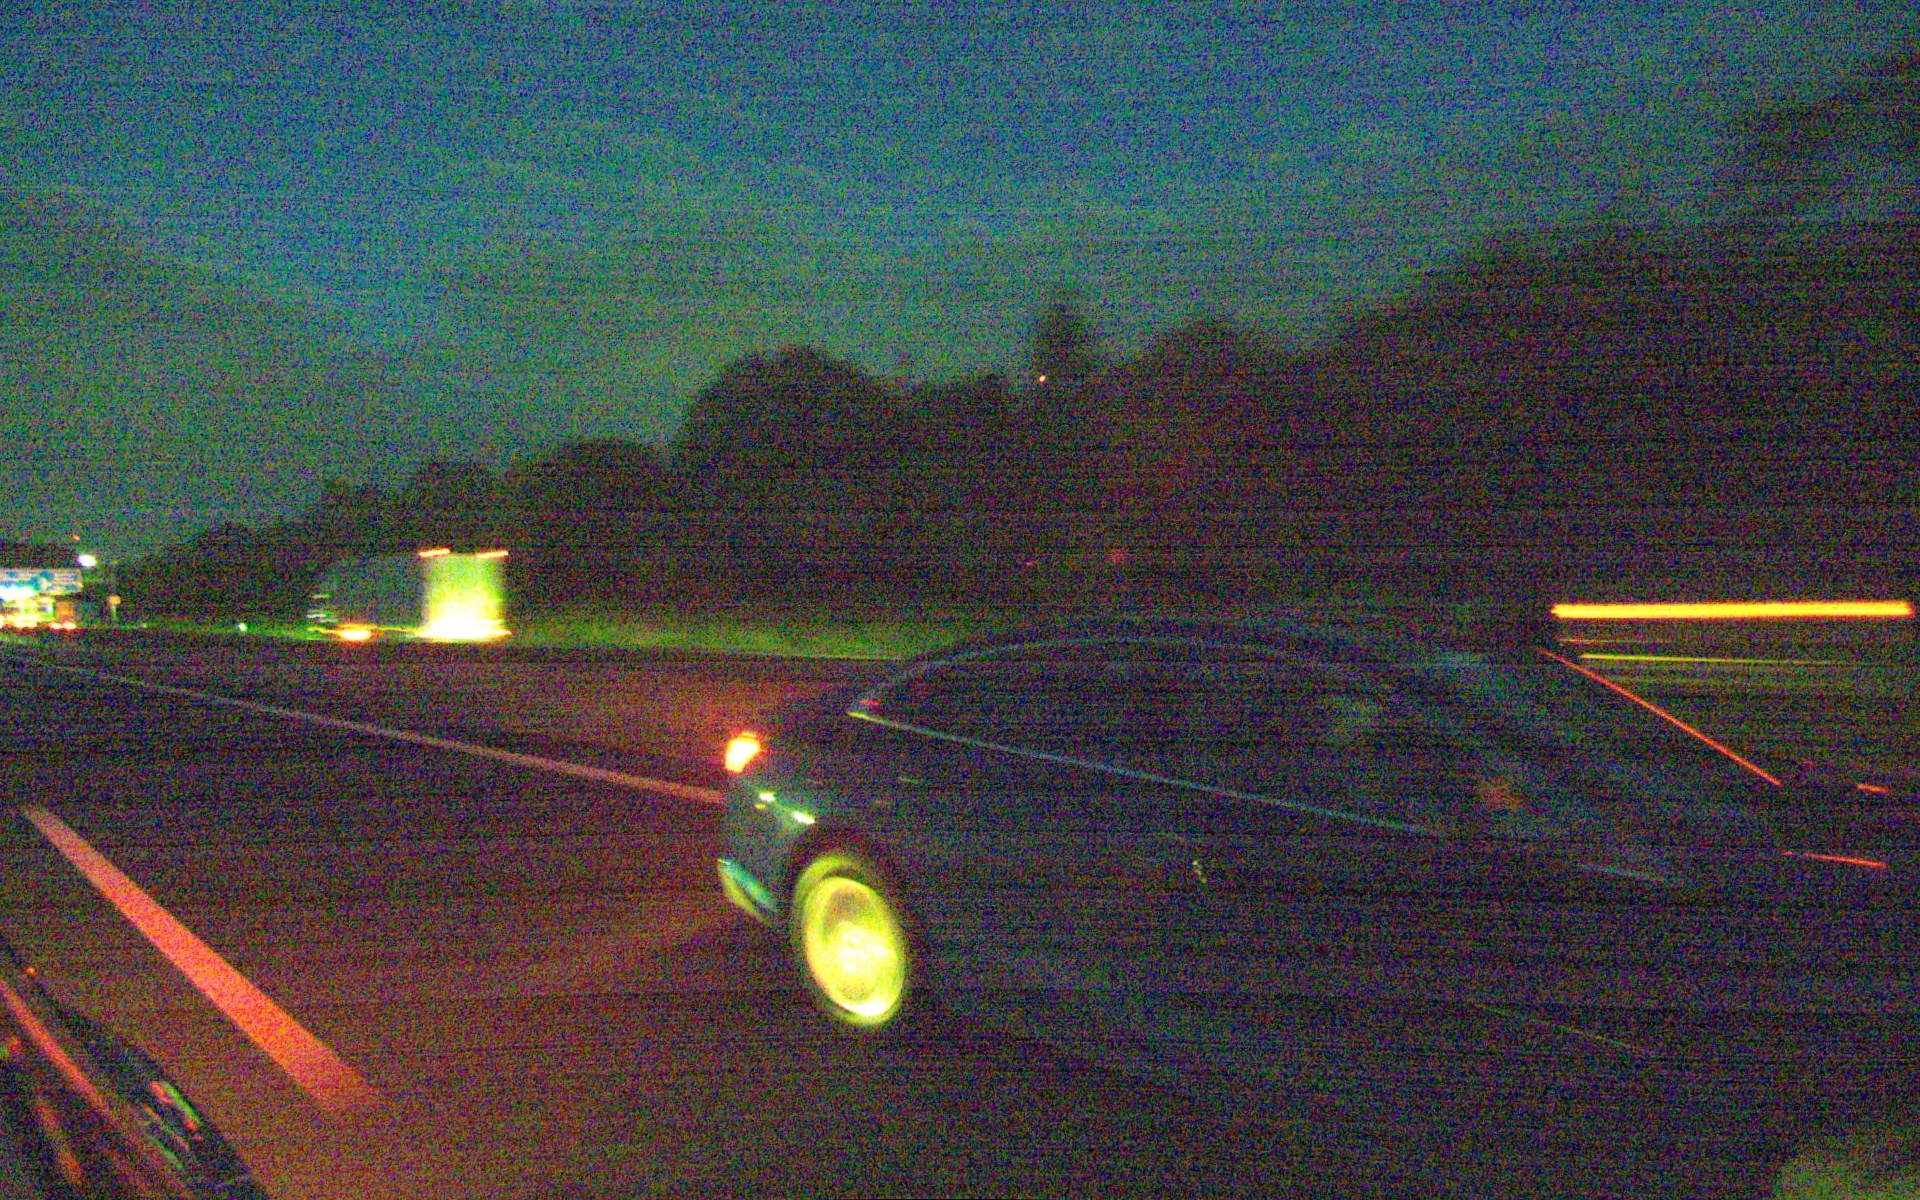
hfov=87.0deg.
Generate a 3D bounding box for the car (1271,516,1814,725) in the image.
[{"bbox_3d":[7.193,0.250,13.004,5.713,2.117,2.220,-1,-1,42],"label":"car"}]

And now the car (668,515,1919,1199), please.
[{"bbox_3d":[1.626,0.643,2.858,5.648,1.530,1.973,-2,-1,41],"label":"car"}]

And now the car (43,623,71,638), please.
[{"bbox_3d":[-102.073,3.425,114.422,4.949,1.682,1.988,-2,-1,44],"label":"car"}]

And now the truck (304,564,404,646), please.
[{"bbox_3d":[-31.528,0.302,52.555,5.857,4.010,2.824,-1,-1,42],"label":"truck"}]

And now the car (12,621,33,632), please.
[{"bbox_3d":[-141.453,3.990,152.685,4.208,1.478,1.988,-1,-1,43],"label":"car"}]

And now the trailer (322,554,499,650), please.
[{"bbox_3d":[-26.392,0.191,48.010,13.880,4.010,2.824,-1,-1,42],"label":"trailer"}]
